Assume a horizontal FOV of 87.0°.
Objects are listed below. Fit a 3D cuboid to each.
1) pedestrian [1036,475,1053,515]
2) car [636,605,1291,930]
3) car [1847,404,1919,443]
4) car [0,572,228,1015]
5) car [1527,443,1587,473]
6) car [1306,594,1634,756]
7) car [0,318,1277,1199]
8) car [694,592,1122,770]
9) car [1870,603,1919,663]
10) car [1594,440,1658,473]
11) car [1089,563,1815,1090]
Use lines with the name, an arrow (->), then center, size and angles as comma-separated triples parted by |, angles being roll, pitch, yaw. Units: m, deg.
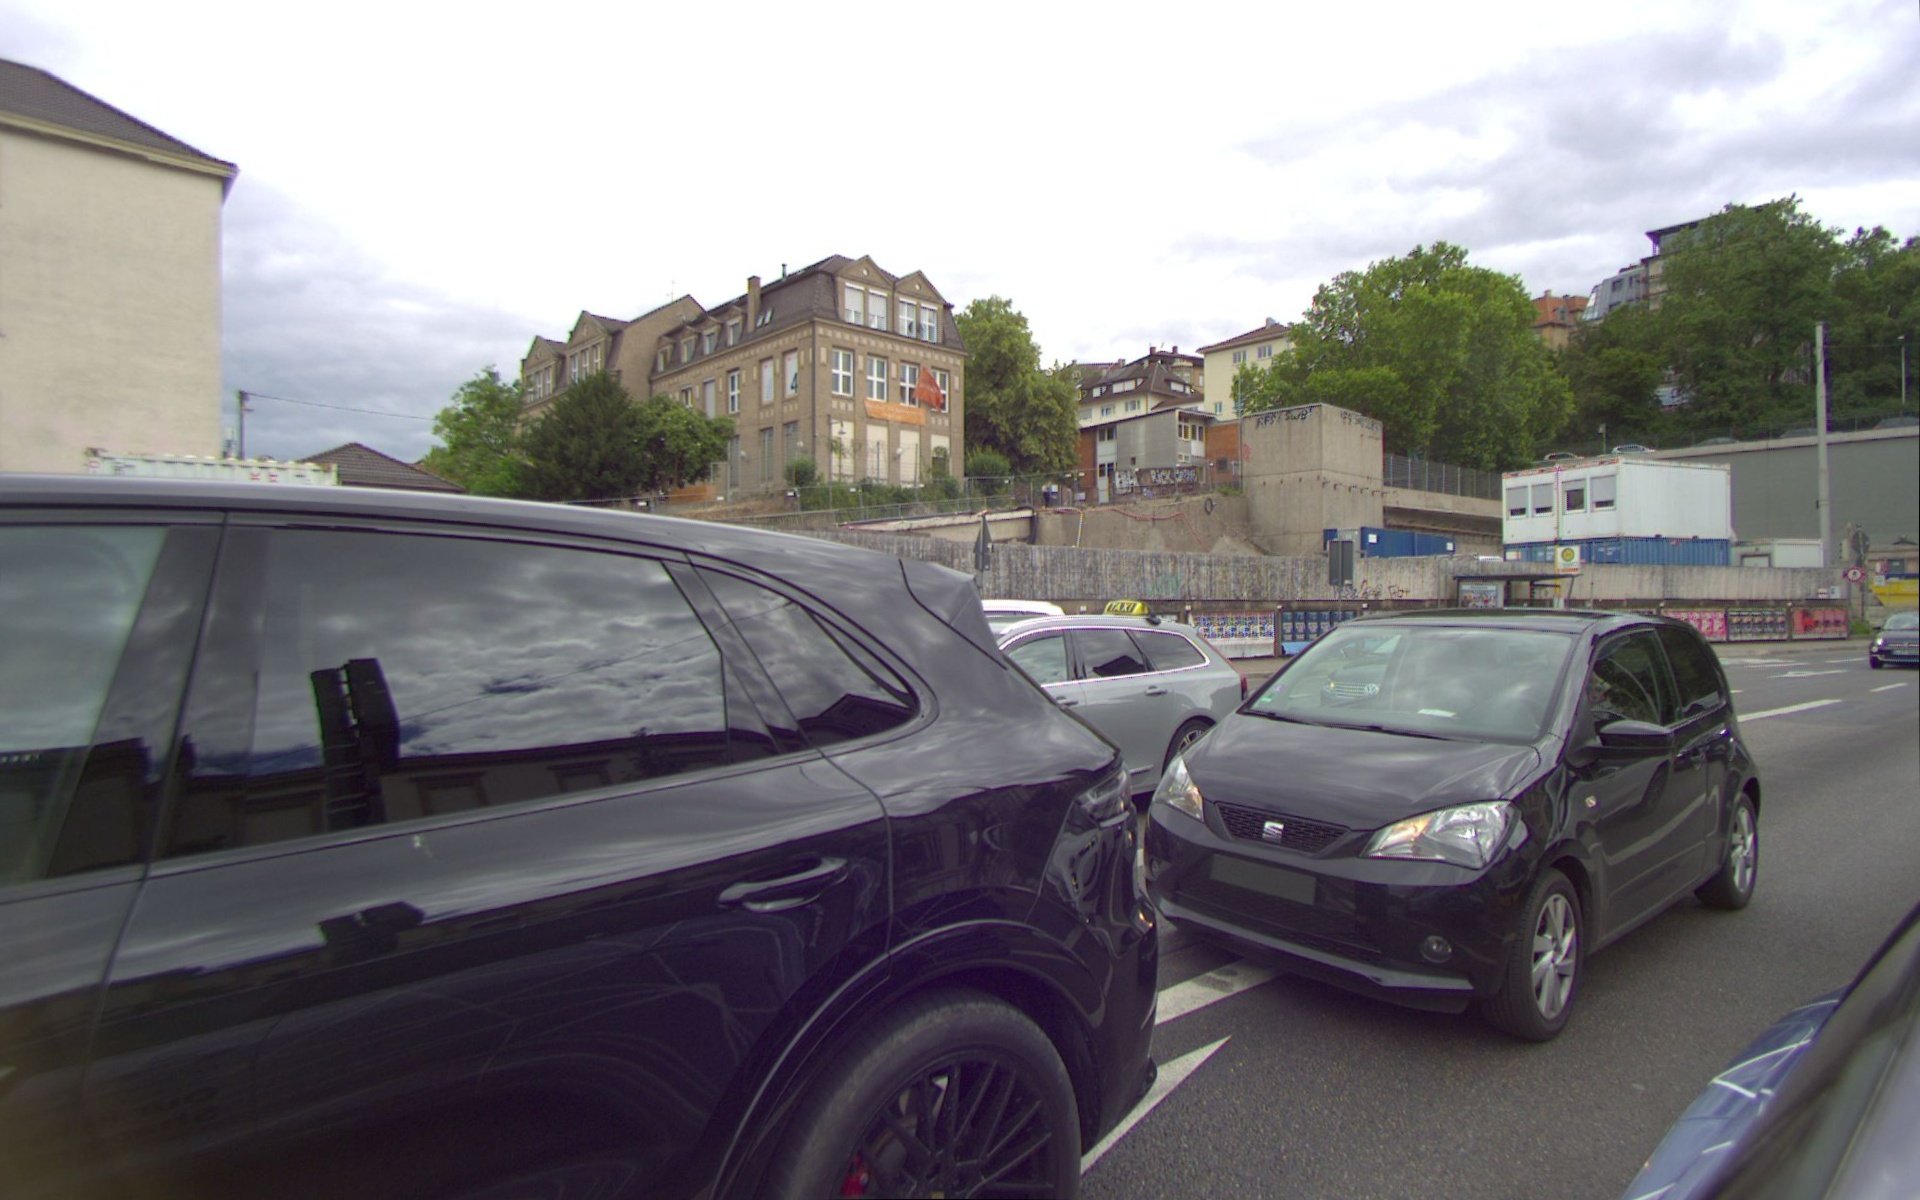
pedestrian -> 4.536, -5.645, 54.515 | 0.656, 2.039, 0.644 | 0, 0, -45
car -> 0.256, 0.852, 7.244 | 4.570, 1.591, 1.826 | 0, 0, -39
car -> 64.159, -12.198, 70.049 | 1.966, 2.039, 3.991 | 0, 1, -43
car -> -4.881, 0.691, 3.423 | 3.812, 1.563, 1.667 | 0, -1, -40
car -> 50.255, -11.920, 85.230 | 3.988, 2.039, 1.968 | 0, 1, 45
car -> 6.123, 0.727, 11.934 | 4.467, 1.579, 1.705 | 0, 0, -38
car -> -1.620, 0.582, 1.705 | 4.552, 1.707, 1.959 | 0, -1, -40
car -> -0.440, 0.720, 11.064 | 4.465, 1.579, 1.705 | 0, 0, -36
car -> 25.027, 0.803, 25.964 | 3.925, 1.462, 1.731 | 0, -1, -36
car -> 53.570, -11.513, 81.440 | 3.988, 2.039, 1.968 | 0, 1, 45
car -> 2.529, 0.658, 4.790 | 3.812, 1.515, 1.667 | 0, -1, -40
